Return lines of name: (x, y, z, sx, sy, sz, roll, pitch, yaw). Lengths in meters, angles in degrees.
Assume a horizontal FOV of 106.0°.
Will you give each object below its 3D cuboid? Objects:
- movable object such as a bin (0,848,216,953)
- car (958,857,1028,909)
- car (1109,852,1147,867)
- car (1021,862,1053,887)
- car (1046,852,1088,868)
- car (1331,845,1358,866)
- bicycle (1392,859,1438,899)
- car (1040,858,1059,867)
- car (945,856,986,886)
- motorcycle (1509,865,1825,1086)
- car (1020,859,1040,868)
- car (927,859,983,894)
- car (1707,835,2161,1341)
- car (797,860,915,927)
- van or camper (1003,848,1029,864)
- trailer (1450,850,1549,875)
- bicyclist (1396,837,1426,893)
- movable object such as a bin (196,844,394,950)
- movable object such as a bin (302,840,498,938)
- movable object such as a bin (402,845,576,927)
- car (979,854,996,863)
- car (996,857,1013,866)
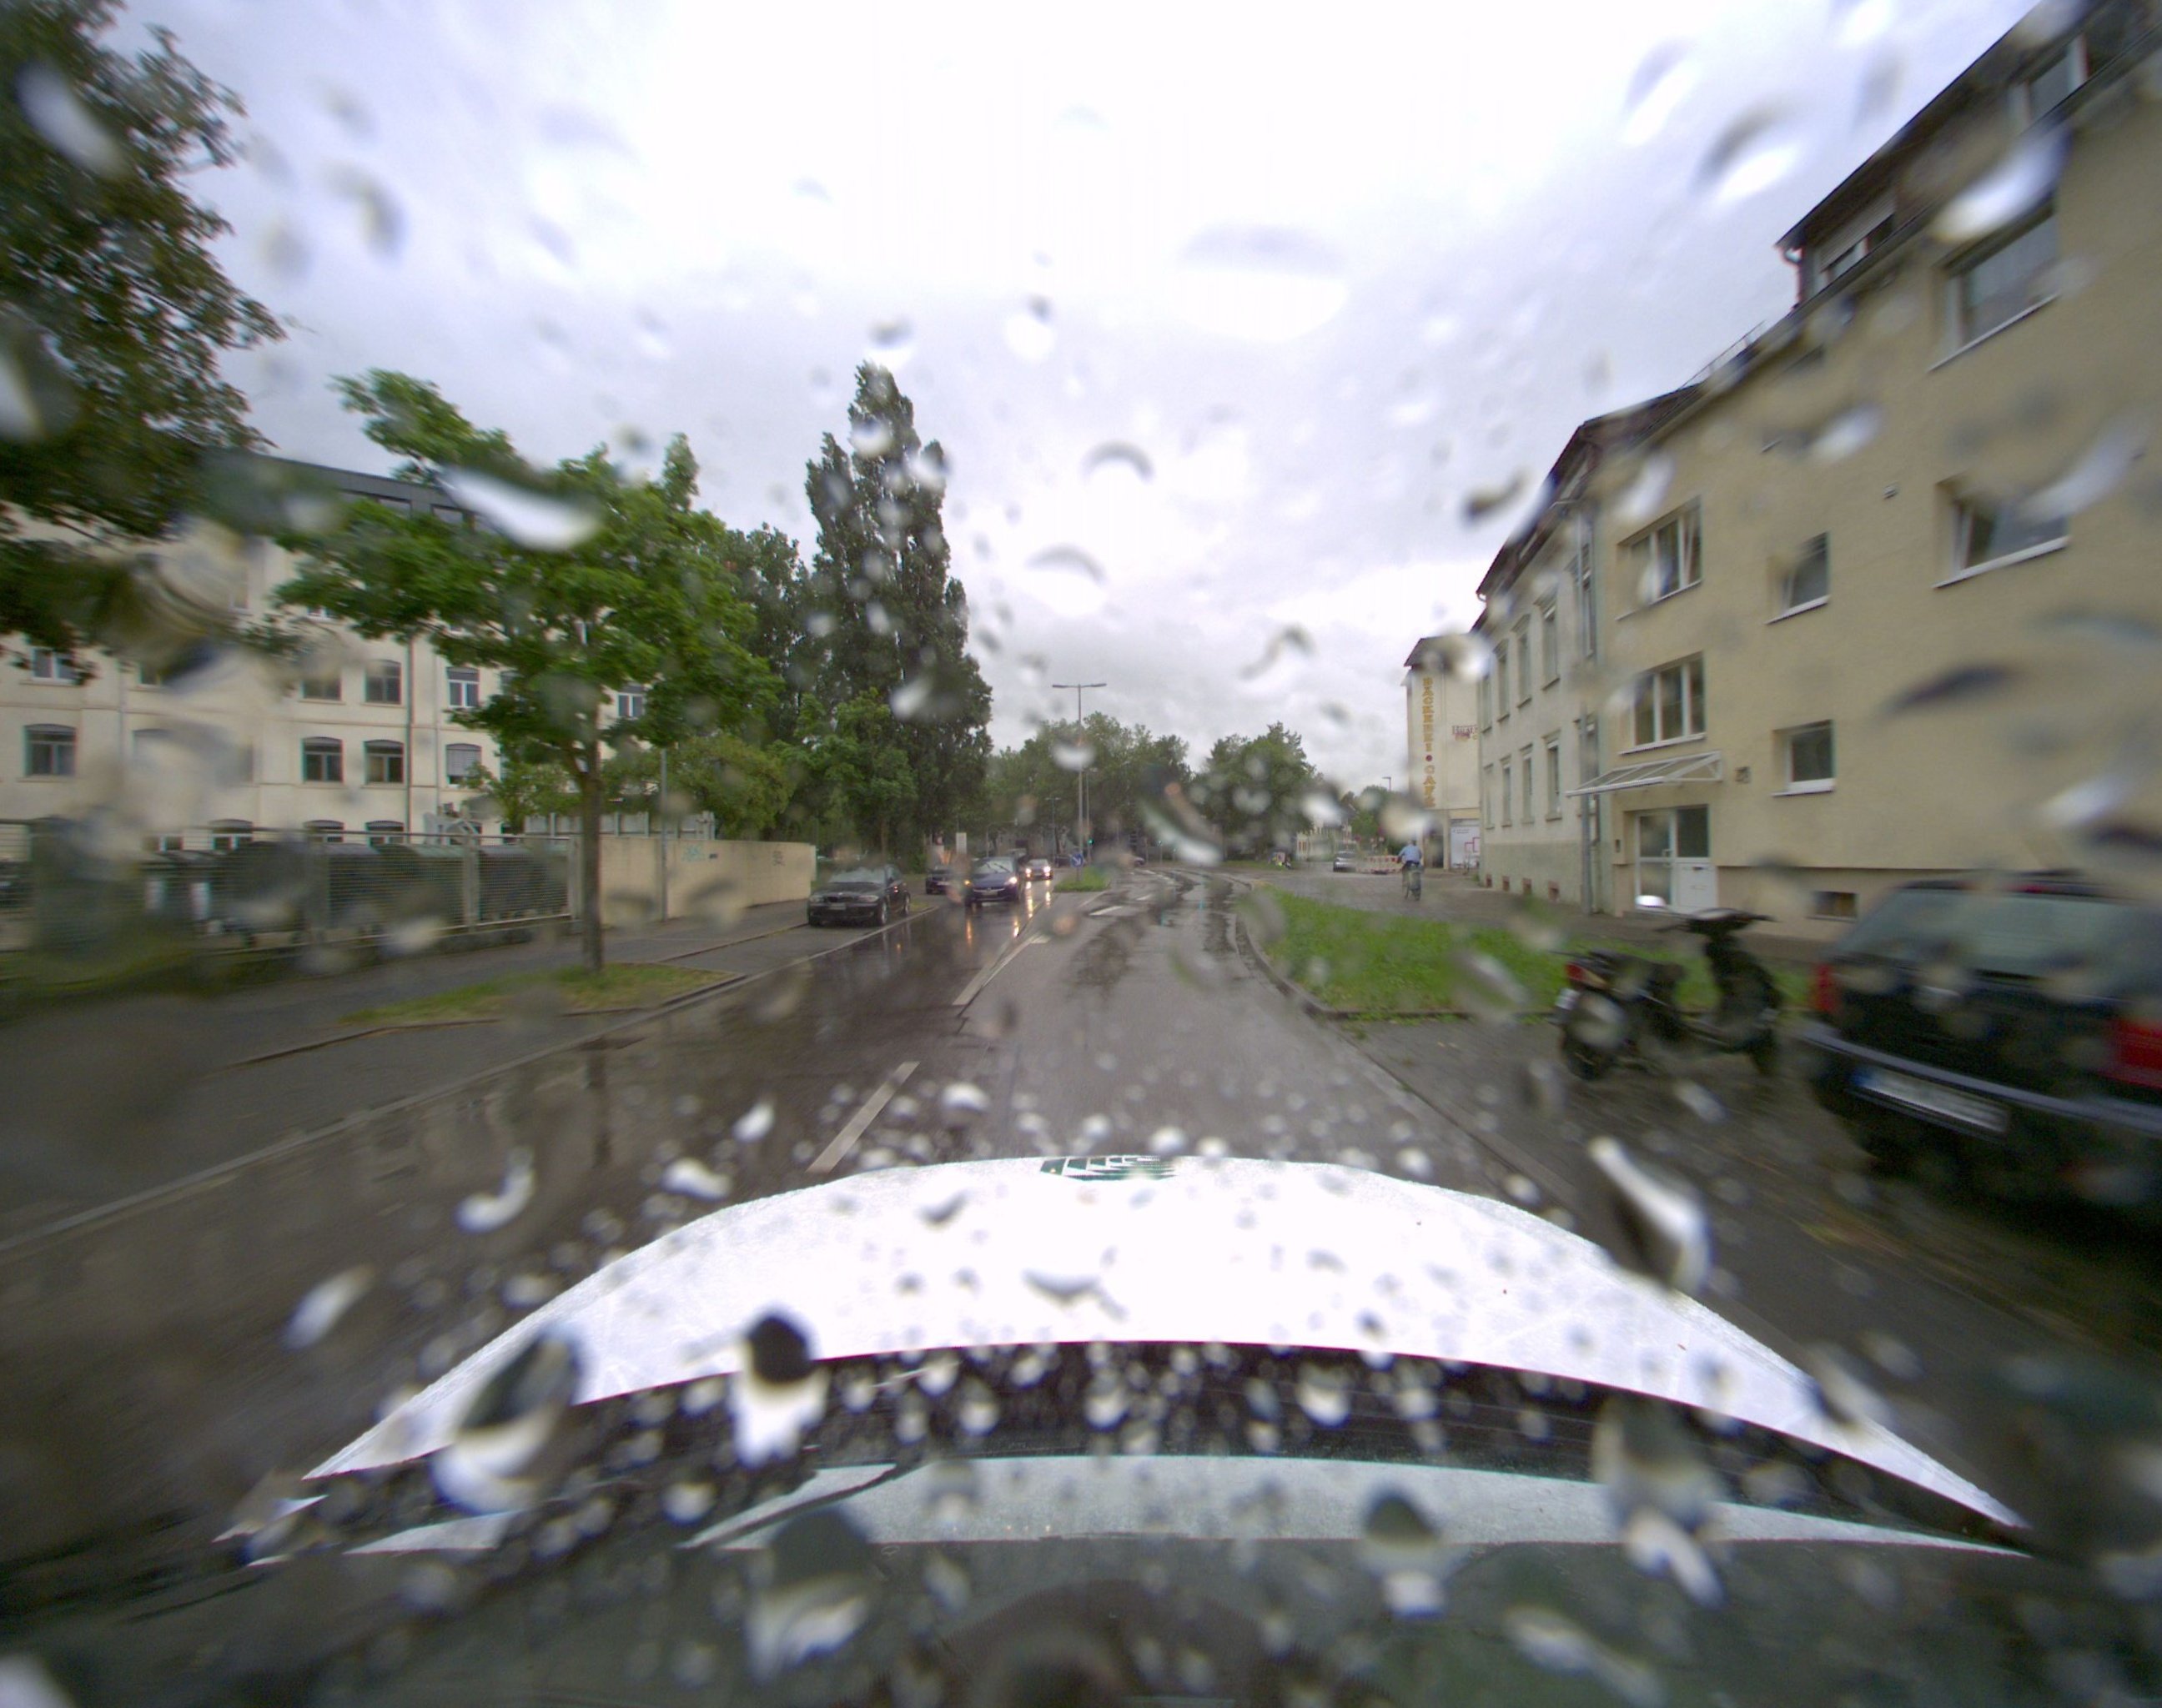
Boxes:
movable object such as a bin: (-13.849, 0.622, 11.551, 1.211, 1.367, 1.790, 0, -1, 2)
car: (-2.725, 0.867, 25.954, 1.700, 1.501, 3.946, -2, 0, 0)
car: (5.009, 0.602, 87.190, 4.058, 1.602, 2.002, 0, -1, 3)
car: (-2.706, 1.230, 50.744, 1.722, 1.393, 3.949, -4, 0, 0)
car: (-1.522, 0.682, 91.696, 4.255, 1.744, 2.010, -1, -1, 20)
car: (18.812, 0.089, 58.242, 1.622, 1.433, 4.193, -1, 0, 14)
bicycle: (9.500, 0.687, 23.209, 0.669, 1.060, 1.975, -1, 1, 5)
car: (-5.184, 1.341, 132.863, 1.556, 1.390, 4.114, 0, -1, -26)
car: (-5.879, 0.850, 41.839, 1.598, 1.474, 4.119, 0, 0, -2)
motorcycle: (3.788, 0.753, 5.356, 1.584, 1.324, 0.695, 0, 1, 0)
car: (-8.051, 1.498, 128.827, 1.716, 1.411, 3.611, -3, 1, -29)
car: (-5.271, 0.905, 34.634, 1.721, 1.383, 4.178, 1, 0, 0)
car: (5.042, 0.659, 3.232, 3.737, 1.454, 1.802, 0, 1, 1)
car: (-5.304, 0.872, 19.742, 1.690, 1.445, 4.097, 0, 0, 1)
van or camper: (-11.736, 0.437, 146.703, 2.331, 2.807, 6.803, 0, -1, -27)
trailer: (22.096, 0.448, 43.047, 4.475, 1.232, 1.836, -1, -1, 34)
bicyclist: (9.509, 0.316, 23.476, 0.635, 1.582, 0.717, -1, 0, 5)
movable object such as a bin: (-10.766, 0.565, 11.235, 1.485, 1.367, 1.263, 0, -1, 2)
movable object such as a bin: (-10.786, 0.528, 13.022, 1.553, 1.441, 1.832, 0, -1, 2)
movable object such as a bin: (-10.903, 0.560, 15.120, 1.903, 1.424, 1.757, 0, -1, 2)
car: (-18.176, 0.914, 158.116, 1.927, 1.620, 4.329, 0, -1, -30)
car: (-13.304, 1.294, 141.539, 1.716, 1.411, 3.611, -3, 1, -29)
